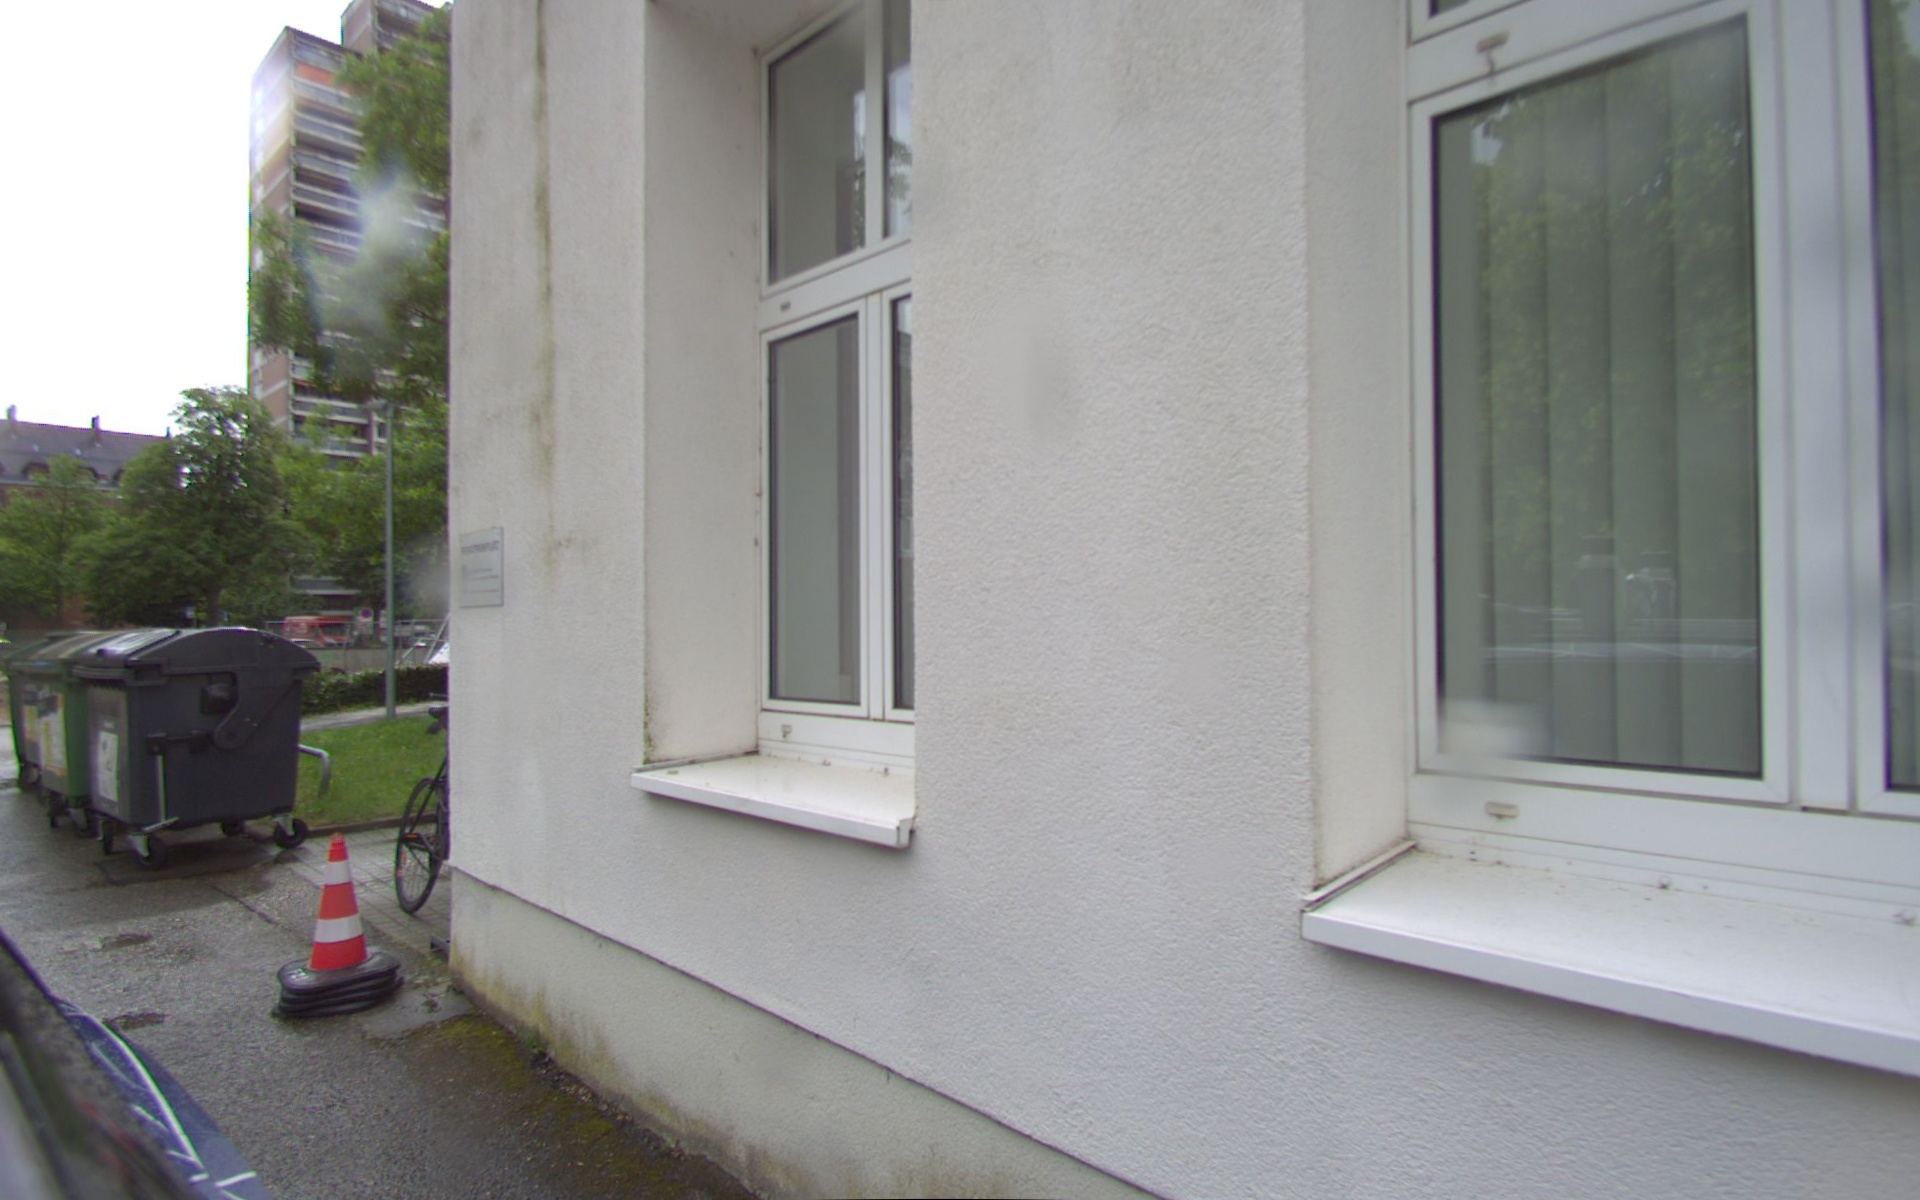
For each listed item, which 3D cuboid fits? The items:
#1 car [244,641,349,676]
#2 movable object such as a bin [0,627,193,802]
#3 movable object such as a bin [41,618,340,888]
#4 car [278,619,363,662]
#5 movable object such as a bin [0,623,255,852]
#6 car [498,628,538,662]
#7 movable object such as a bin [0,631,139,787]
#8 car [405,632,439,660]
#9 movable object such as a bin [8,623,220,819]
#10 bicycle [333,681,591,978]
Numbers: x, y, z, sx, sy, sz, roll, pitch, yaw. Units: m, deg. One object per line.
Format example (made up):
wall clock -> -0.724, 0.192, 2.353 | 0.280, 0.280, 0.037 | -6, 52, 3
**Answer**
car -> -29.979, 2.663, 45.761 | 3.965, 1.482, 1.879 | -2, -4, 17
movable object such as a bin -> -8.247, 1.042, 9.649 | 1.400, 1.494, 1.153 | -4, -3, 37
movable object such as a bin -> -5.010, 0.886, 6.590 | 1.592, 1.494, 1.153 | -1, -3, 39
car -> -40.890, 2.568, 64.681 | 5.461, 2.654, 2.278 | -1, -3, 30
movable object such as a bin -> -6.225, 0.933, 7.566 | 1.495, 1.494, 1.153 | -1, -3, 39
car -> -26.702, 2.687, 61.034 | 1.904, 1.911, 4.660 | 1, -2, -27
movable object such as a bin -> -9.411, 1.088, 10.669 | 1.086, 1.484, 1.489 | 0, -1, -36
car -> -33.790, 2.877, 63.532 | 1.755, 1.577, 4.059 | 1, -1, -30
movable object such as a bin -> -7.231, 0.963, 8.655 | 1.401, 1.494, 1.153 | -3, -3, 39
bicycle -> -2.438, 0.994, 4.879 | 1.520, 1.124, 0.608 | -1, -3, 44
